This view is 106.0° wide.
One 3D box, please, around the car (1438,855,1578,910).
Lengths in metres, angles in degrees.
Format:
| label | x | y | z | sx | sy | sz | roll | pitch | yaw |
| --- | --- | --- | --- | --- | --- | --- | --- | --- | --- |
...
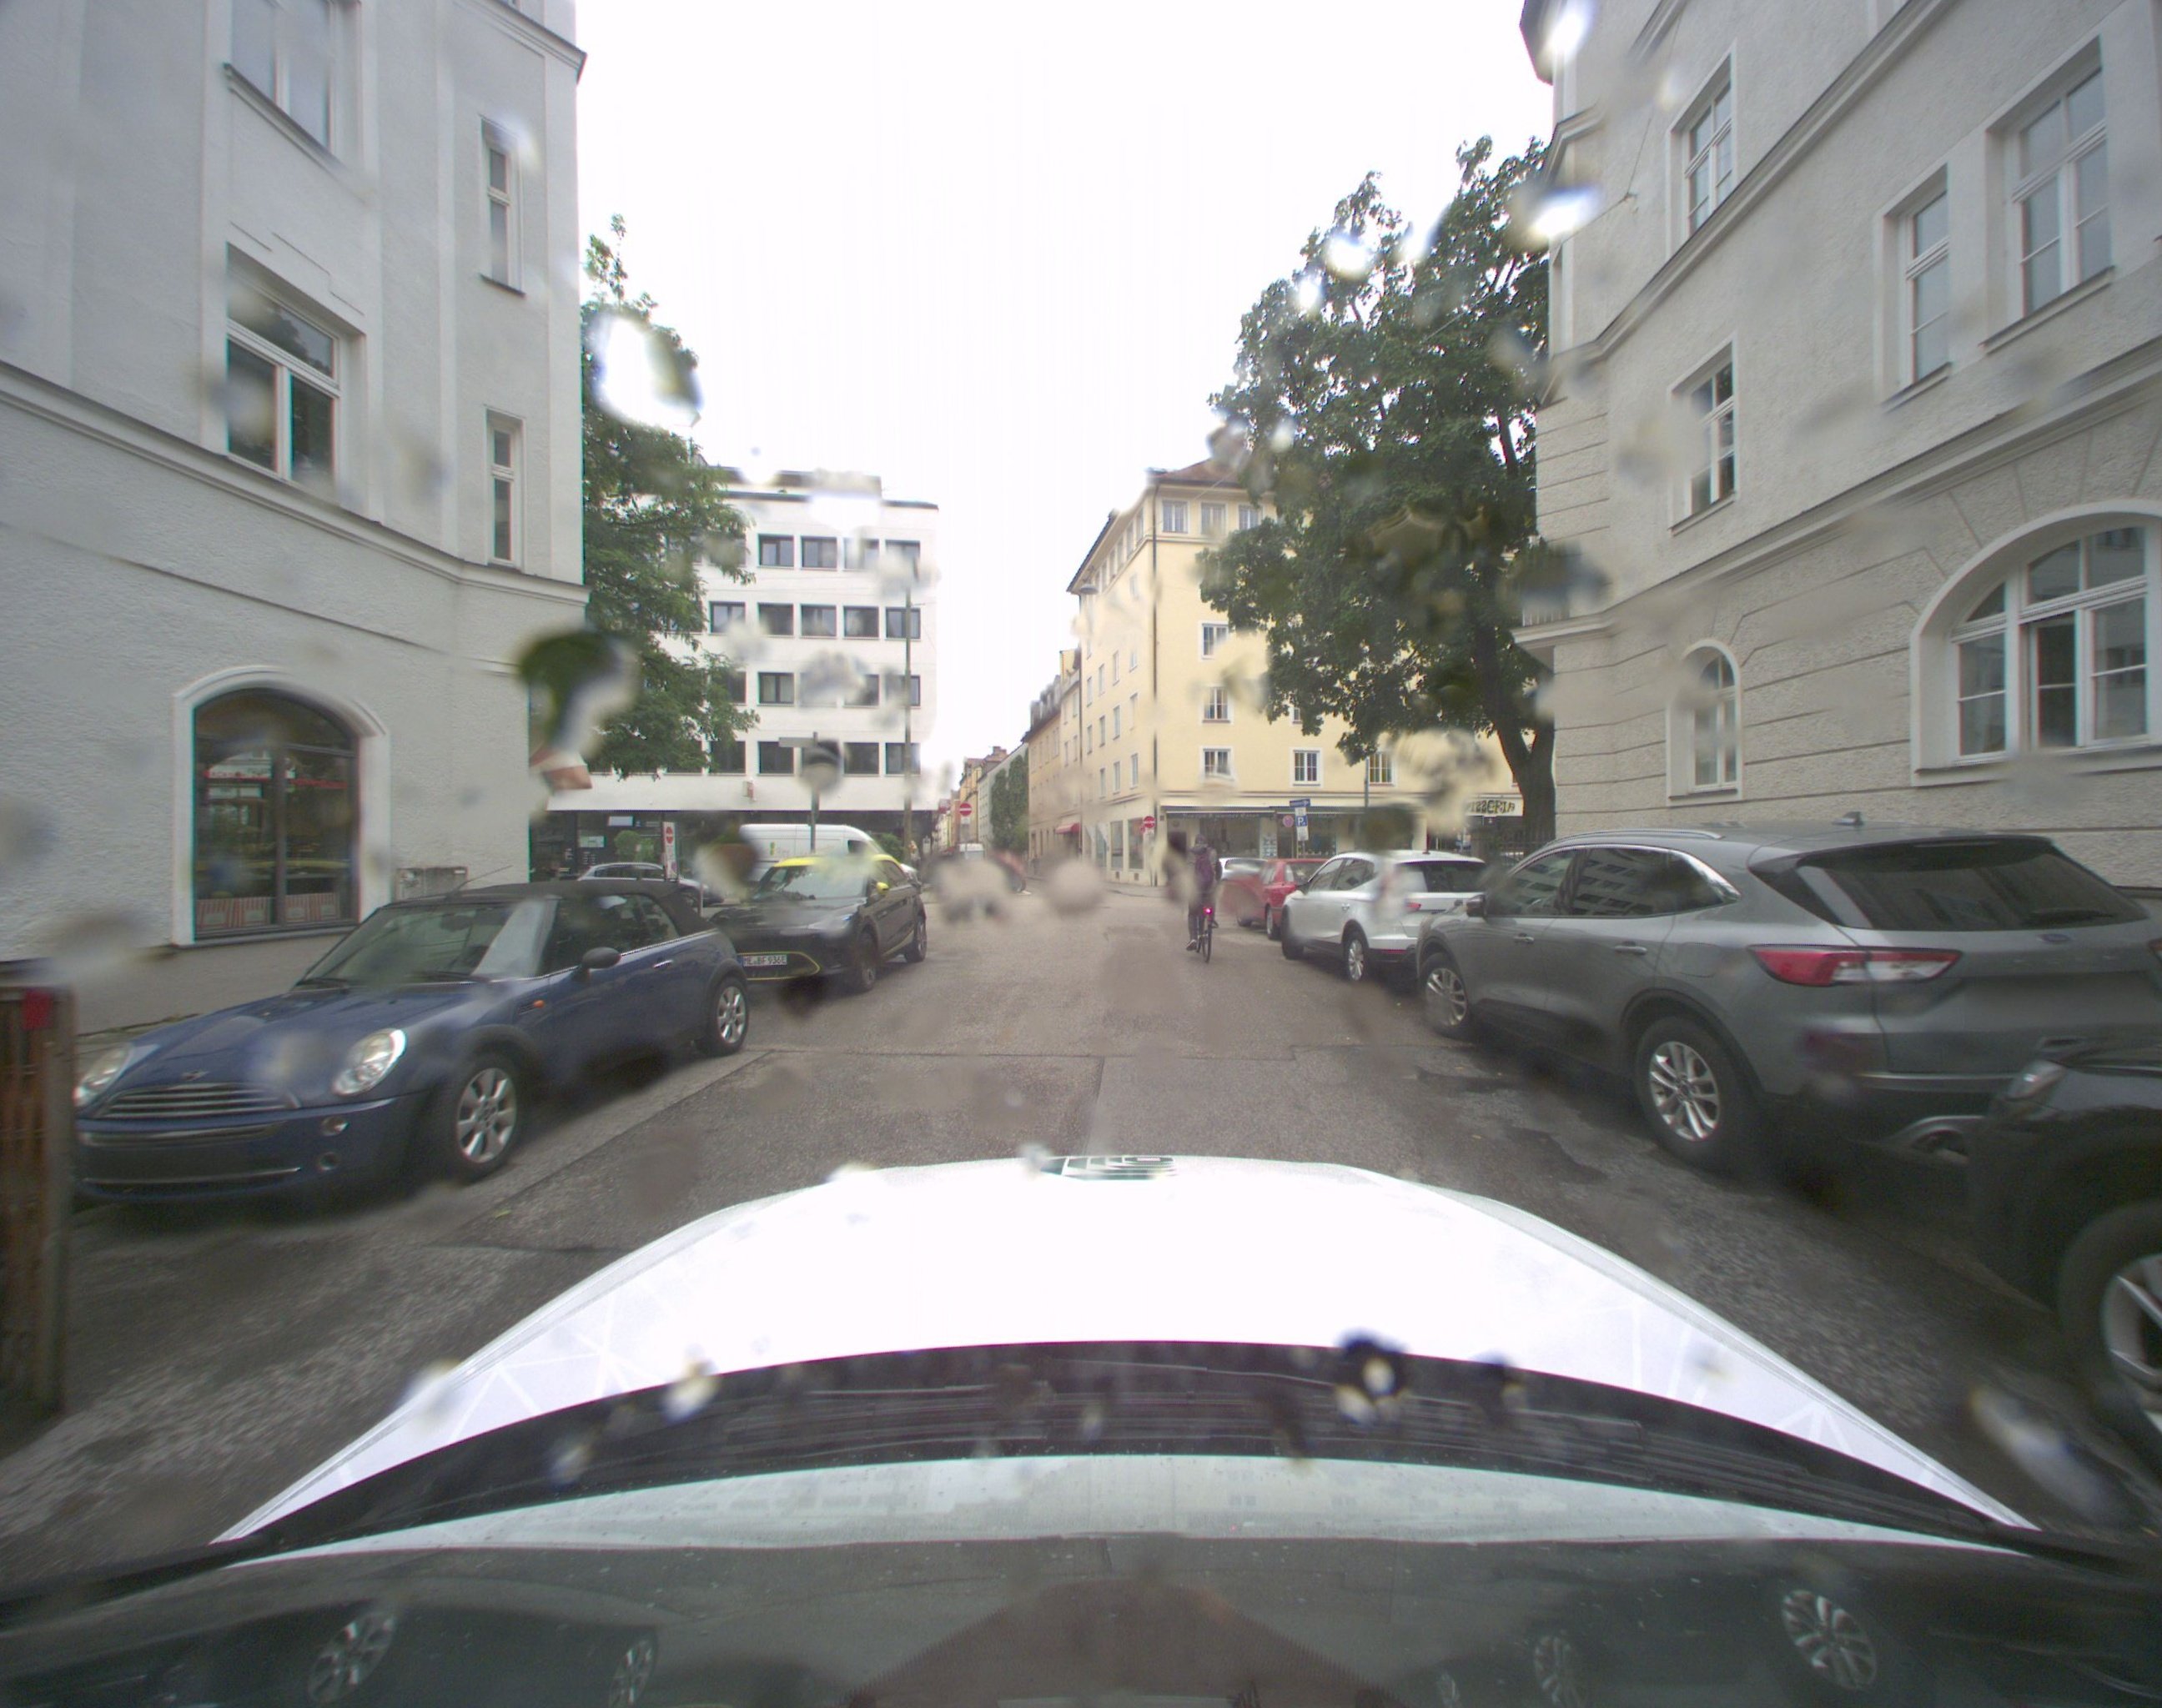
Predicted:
| label | x | y | z | sx | sy | sz | roll | pitch | yaw |
| --- | --- | --- | --- | --- | --- | --- | --- | --- | --- |
| car | 12.465 | 0.793 | 23.873 | 3.318 | 1.487 | 1.624 | -1 | 1 | -7 |

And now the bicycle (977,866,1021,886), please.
| label | x | y | z | sx | sy | sz | roll | pitch | yaw |
| --- | --- | --- | --- | --- | --- | --- | --- | --- | --- |
| bicycle | -3.779 | 1.016 | 37.388 | 1.915 | 0.863 | 0.615 | -1 | 0 | -16 |

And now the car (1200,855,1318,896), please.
| label | x | y | z | sx | sy | sz | roll | pitch | yaw |
| --- | --- | --- | --- | --- | --- | --- | --- | --- | --- |
| car | 6.436 | 0.812 | 29.822 | 3.971 | 1.416 | 1.821 | 0 | -4 | 2 |

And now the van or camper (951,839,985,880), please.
| label | x | y | z | sx | sy | sz | roll | pitch | yaw |
| --- | --- | --- | --- | --- | --- | --- | --- | --- | --- |
| van or camper | -7.482 | 0.371 | 53.588 | 1.993 | 2.540 | 4.744 | -1 | 0 | -10 |

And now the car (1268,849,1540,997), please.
| label | x | y | z | sx | sy | sz | roll | pitch | yaw |
| --- | --- | --- | --- | --- | --- | --- | --- | --- | --- |
| car | 3.757 | 0.698 | 10.273 | 1.746 | 1.496 | 3.906 | 0 | 0 | -3 |

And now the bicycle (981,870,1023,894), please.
| label | x | y | z | sx | sy | sz | roll | pitch | yaw |
| --- | --- | --- | --- | --- | --- | --- | --- | --- | --- |
| bicycle | -3.422 | 1.185 | 35.124 | 1.739 | 0.968 | 0.540 | -1 | 0 | -16 |

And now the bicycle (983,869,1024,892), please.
| label | x | y | z | sx | sy | sz | roll | pitch | yaw |
| --- | --- | --- | --- | --- | --- | --- | --- | --- | --- |
| bicycle | -3.479 | 1.175 | 36.448 | 1.739 | 0.968 | 0.540 | -1 | 0 | -16 |

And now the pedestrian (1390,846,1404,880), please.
| label | x | y | z | sx | sy | sz | roll | pitch | yaw |
| --- | --- | --- | --- | --- | --- | --- | --- | --- | --- |
| pedestrian | 14.609 | 0.397 | 37.637 | 0.551 | 1.537 | 0.437 | 0 | 2 | 24 |

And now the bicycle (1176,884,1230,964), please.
| label | x | y | z | sx | sy | sz | roll | pitch | yaw |
| --- | --- | --- | --- | --- | --- | --- | --- | --- | --- |
| bicycle | 1.714 | 0.958 | 11.639 | 0.636 | 1.004 | 1.576 | -1 | 0 | 4 |

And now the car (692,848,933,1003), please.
| label | x | y | z | sx | sy | sz | roll | pitch | yaw |
| --- | --- | --- | --- | --- | --- | --- | --- | --- | --- |
| car | -3.235 | 0.775 | 10.693 | 1.670 | 1.597 | 3.947 | -3 | 0 | 2 |

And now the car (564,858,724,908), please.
| label | x | y | z | sx | sy | sz | roll | pitch | yaw |
| --- | --- | --- | --- | --- | --- | --- | --- | --- | --- |
| car | -13.623 | 0.906 | 25.621 | 4.055 | 1.429 | 1.792 | -1 | -3 | -12 |

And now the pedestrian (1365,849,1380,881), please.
| label | x | y | z | sx | sy | sz | roll | pitch | yaw |
| --- | --- | --- | --- | --- | --- | --- | --- | --- | --- |
| pedestrian | 13.214 | 0.504 | 36.955 | 0.507 | 1.433 | 0.586 | -1 | 0 | 32 |

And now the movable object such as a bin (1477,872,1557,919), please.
| label | x | y | z | sx | sy | sz | roll | pitch | yaw |
| --- | --- | --- | --- | --- | --- | --- | --- | --- | --- |
| movable object such as a bin | 8.554 | 0.802 | 16.018 | 0.898 | 0.844 | 1.218 | -1 | 0 | -2 |

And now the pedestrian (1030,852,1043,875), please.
| label | x | y | z | sx | sy | sz | roll | pitch | yaw |
| --- | --- | --- | --- | --- | --- | --- | --- | --- | --- |
| pedestrian | -3.445 | 0.737 | 62.926 | 0.878 | 1.778 | 0.771 | -1 | 0 | -11 |

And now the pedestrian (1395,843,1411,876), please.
| label | x | y | z | sx | sy | sz | roll | pitch | yaw |
| --- | --- | --- | --- | --- | --- | --- | --- | --- | --- |
| pedestrian | 15.104 | 0.249 | 38.172 | 0.435 | 1.551 | 0.530 | -1 | 0 | -27 |

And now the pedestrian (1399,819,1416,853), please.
| label | x | y | z | sx | sy | sz | roll | pitch | yaw |
| --- | --- | --- | --- | --- | --- | --- | --- | --- | --- |
| pedestrian | 15.562 | -0.851 | 38.807 | 0.552 | 1.575 | 0.576 | 1 | -1 | -9 |

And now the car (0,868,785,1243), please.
| label | x | y | z | sx | sy | sz | roll | pitch | yaw |
| --- | --- | --- | --- | --- | --- | --- | --- | --- | --- |
| car | -3.645 | 0.855 | 5.263 | 1.699 | 1.390 | 4.005 | -2 | 0 | 4 |

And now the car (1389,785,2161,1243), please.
| label | x | y | z | sx | sy | sz | roll | pitch | yaw |
| --- | --- | --- | --- | --- | --- | --- | --- | --- | --- |
| car | 3.740 | 0.594 | 5.308 | 1.784 | 1.713 | 4.425 | -1 | 0 | 0 |

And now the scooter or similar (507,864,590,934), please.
| label | x | y | z | sx | sy | sz | roll | pitch | yaw |
| --- | --- | --- | --- | --- | --- | --- | --- | --- | --- |
| scooter or similar | -9.810 | 0.804 | 15.039 | 0.550 | 1.216 | 1.192 | 1 | 0 | 14 |

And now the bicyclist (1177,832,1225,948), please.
| label | x | y | z | sx | sy | sz | roll | pitch | yaw |
| --- | --- | --- | --- | --- | --- | --- | --- | --- | --- |
| bicyclist | 1.717 | 0.497 | 11.728 | 0.603 | 1.606 | 0.758 | -1 | 0 | 4 |

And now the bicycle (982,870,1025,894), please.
| label | x | y | z | sx | sy | sz | roll | pitch | yaw |
| --- | --- | --- | --- | --- | --- | --- | --- | --- | --- |
| bicycle | -3.293 | 1.188 | 34.531 | 1.758 | 0.968 | 0.592 | -1 | 0 | -16 |

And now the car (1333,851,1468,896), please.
| label | x | y | z | sx | sy | sz | roll | pitch | yaw |
| --- | --- | --- | --- | --- | --- | --- | --- | --- | --- |
| car | 11.745 | 0.709 | 30.022 | 4.335 | 1.592 | 1.814 | 0 | -2 | -10 |

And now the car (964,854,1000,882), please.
| label | x | y | z | sx | sy | sz | roll | pitch | yaw |
| --- | --- | --- | --- | --- | --- | --- | --- | --- | --- |
| car | -5.817 | 0.799 | 47.512 | 1.833 | 1.535 | 3.985 | -1 | 0 | -11 |

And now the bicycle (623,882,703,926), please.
| label | x | y | z | sx | sy | sz | roll | pitch | yaw |
| --- | --- | --- | --- | --- | --- | --- | --- | --- | --- |
| bicycle | -9.454 | 1.124 | 18.479 | 1.566 | 0.947 | 0.891 | 1 | -2 | -25 |

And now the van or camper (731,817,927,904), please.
| label | x | y | z | sx | sy | sz | roll | pitch | yaw |
| --- | --- | --- | --- | --- | --- | --- | --- | --- | --- |
| van or camper | -8.129 | 0.211 | 26.789 | 5.901 | 2.677 | 1.868 | -1 | -2 | -8 |

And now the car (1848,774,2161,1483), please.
| label | x | y | z | sx | sy | sz | roll | pitch | yaw |
| --- | --- | --- | --- | --- | --- | --- | --- | --- | --- |
| car | 3.304 | 0.648 | 0.473 | 1.770 | 1.636 | 4.379 | 1 | 0 | 3 |

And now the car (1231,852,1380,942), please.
| label | x | y | z | sx | sy | sz | roll | pitch | yaw |
| --- | --- | --- | --- | --- | --- | --- | --- | --- | --- |
| car | 4.002 | 0.693 | 15.205 | 1.663 | 1.435 | 4.214 | 0 | 0 | 0 |

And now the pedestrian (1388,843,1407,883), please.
| label | x | y | z | sx | sy | sz | roll | pitch | yaw |
| --- | --- | --- | --- | --- | --- | --- | --- | --- | --- |
| pedestrian | 13.651 | 0.393 | 35.118 | 0.602 | 1.702 | 0.542 | -1 | 1 | -8 |

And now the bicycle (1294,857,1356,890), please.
| label | x | y | z | sx | sy | sz | roll | pitch | yaw |
| --- | --- | --- | --- | --- | --- | --- | --- | --- | --- |
| bicycle | 9.565 | 0.757 | 31.986 | 2.081 | 1.253 | 1.103 | 0 | 1 | -8 |
